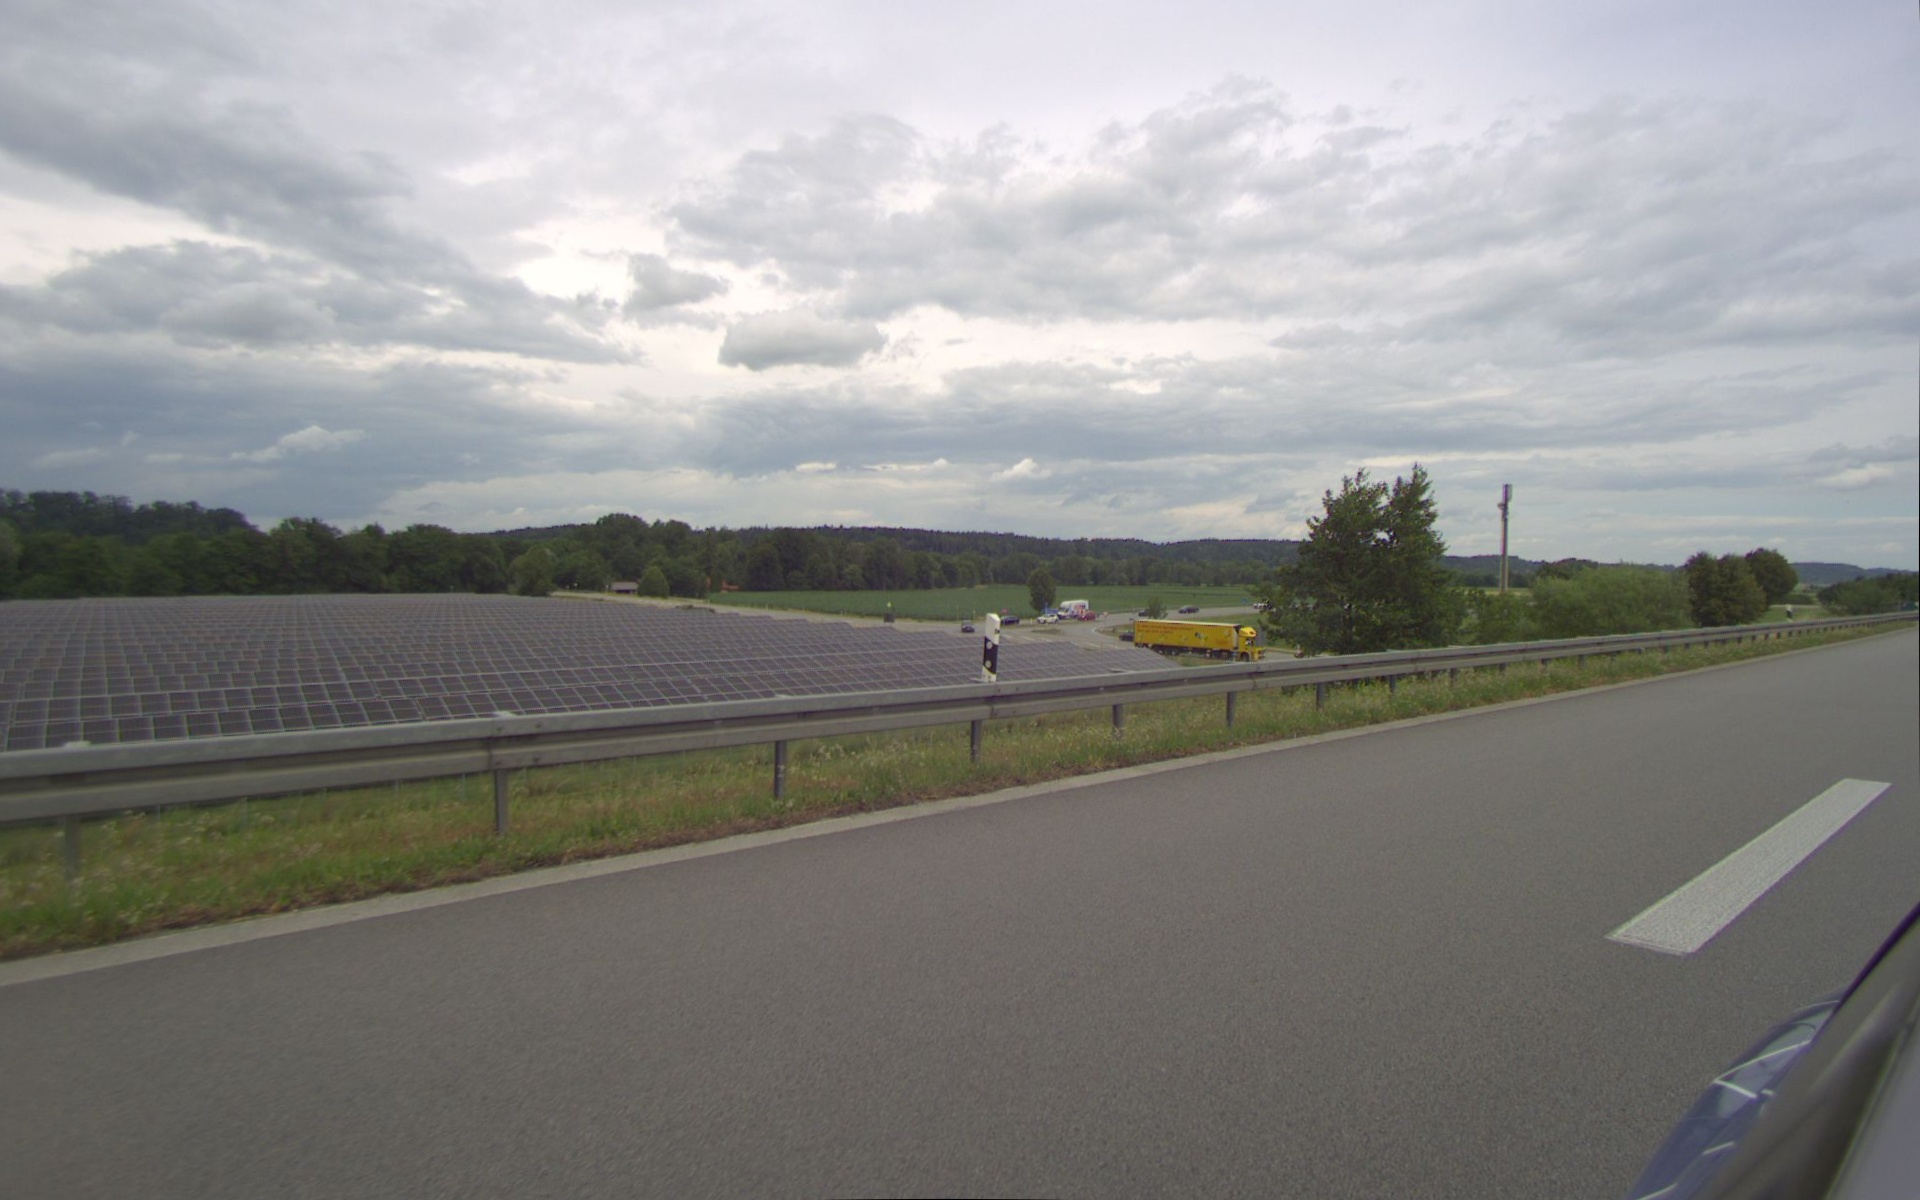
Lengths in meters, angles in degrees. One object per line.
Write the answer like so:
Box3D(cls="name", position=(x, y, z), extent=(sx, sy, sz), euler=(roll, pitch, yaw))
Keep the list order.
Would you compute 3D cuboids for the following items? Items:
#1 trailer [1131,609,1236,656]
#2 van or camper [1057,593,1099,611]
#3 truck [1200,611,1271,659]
Box3D(cls="trailer", position=(25.736, 3.627, 117.222), extent=(2.969, 4.847, 12.281), euler=(1, 1, -44))
Box3D(cls="van or camper", position=(21.015, 0.419, 179.744), extent=(6.982, 2.946, 2.804), euler=(-1, -3, -28))
Box3D(cls="truck", position=(30.504, 3.809, 112.219), extent=(2.969, 4.847, 7.124), euler=(1, 1, -44))
